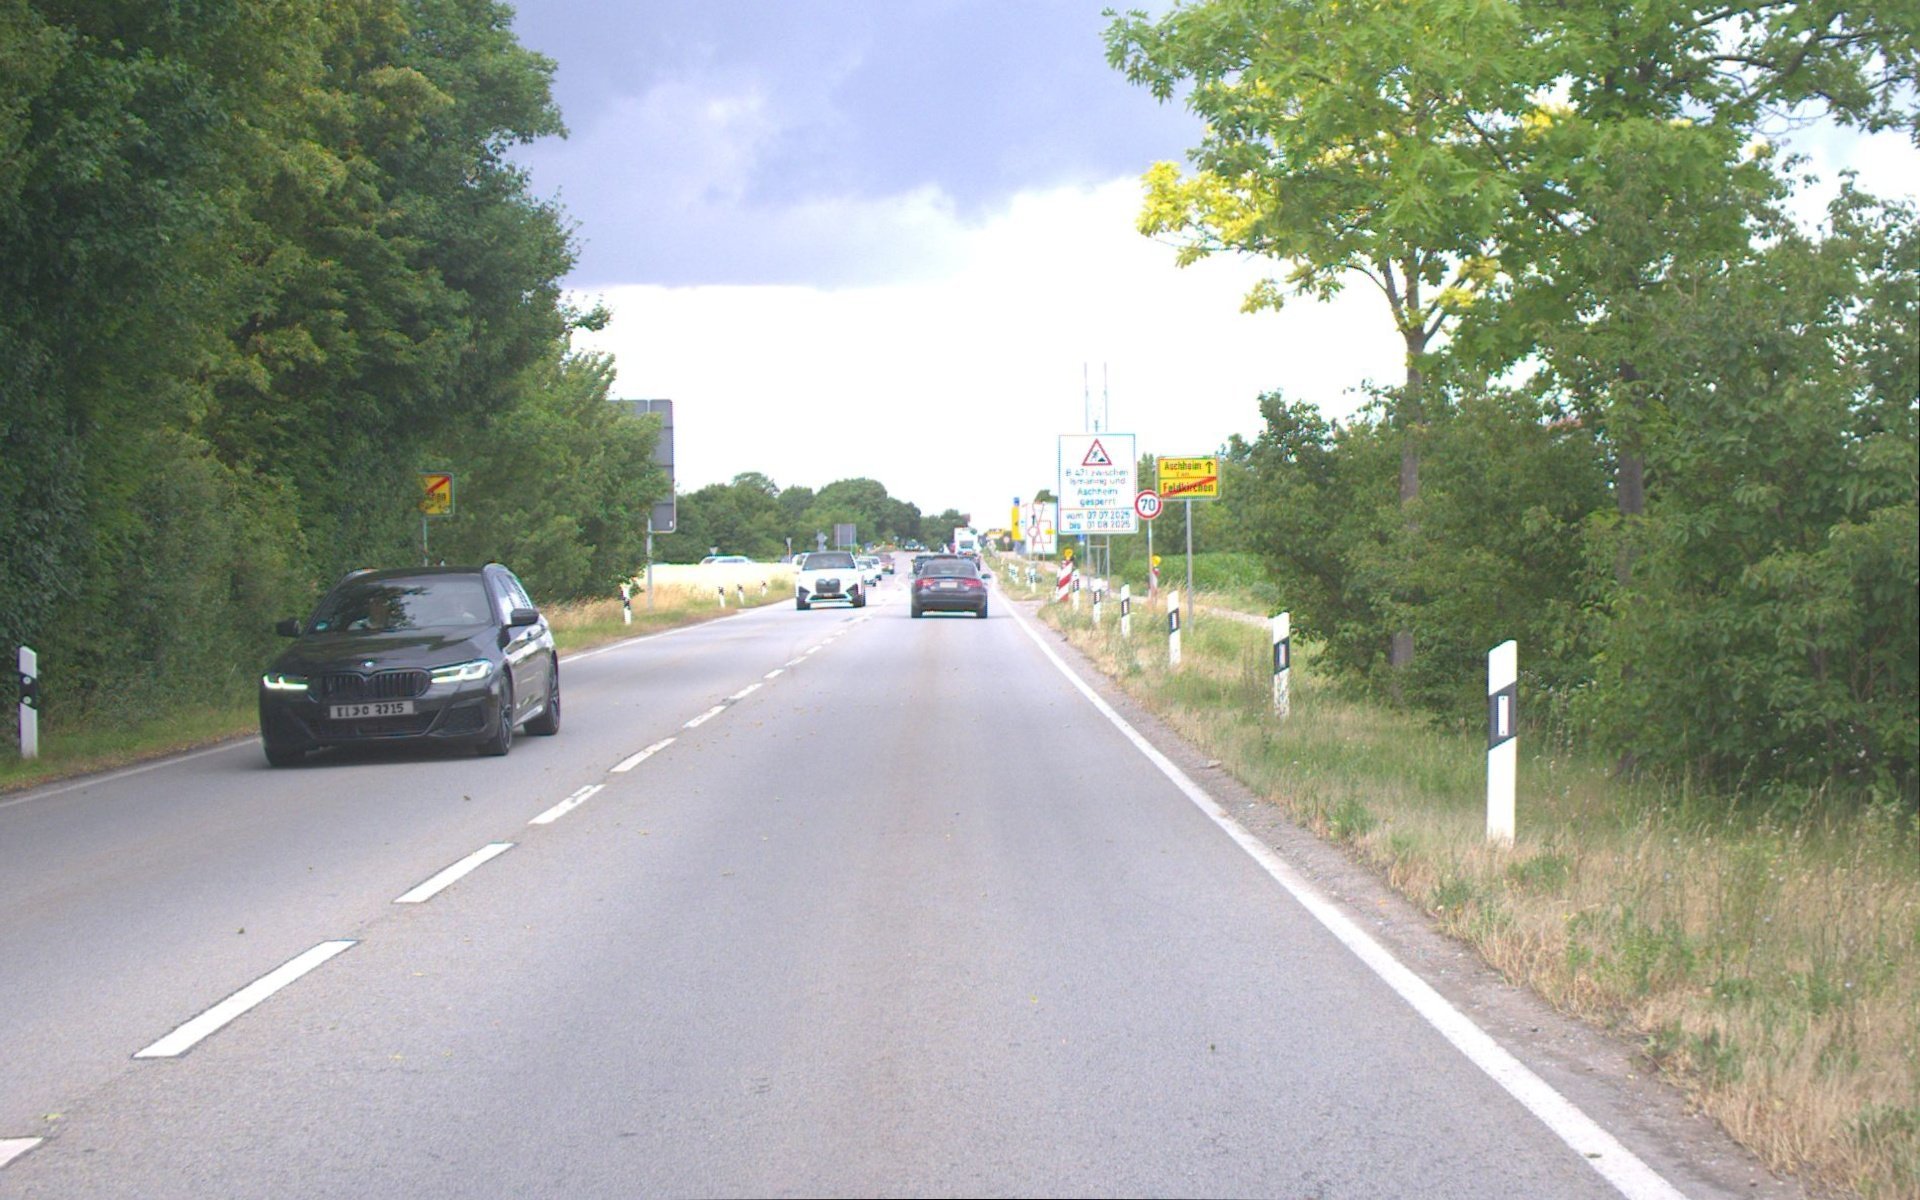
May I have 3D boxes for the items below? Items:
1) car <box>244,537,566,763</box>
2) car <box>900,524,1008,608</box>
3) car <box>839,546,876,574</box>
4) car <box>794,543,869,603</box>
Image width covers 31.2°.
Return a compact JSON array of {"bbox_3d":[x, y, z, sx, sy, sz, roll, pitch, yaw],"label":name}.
[{"bbox_3d":[-4.346,0.341,27.584,1.940,1.580,4.556,-3,1,-2],"label":"car"},{"bbox_3d":[-0.177,-0.834,83.215,2.371,1.874,4.478,-3,1,-2],"label":"car"},{"bbox_3d":[-5.283,-2.076,177.150,1.728,1.359,3.950,-1,1,0],"label":"car"},{"bbox_3d":[-3.817,-0.822,102.692,1.993,1.678,4.810,-1,1,0],"label":"car"}]
